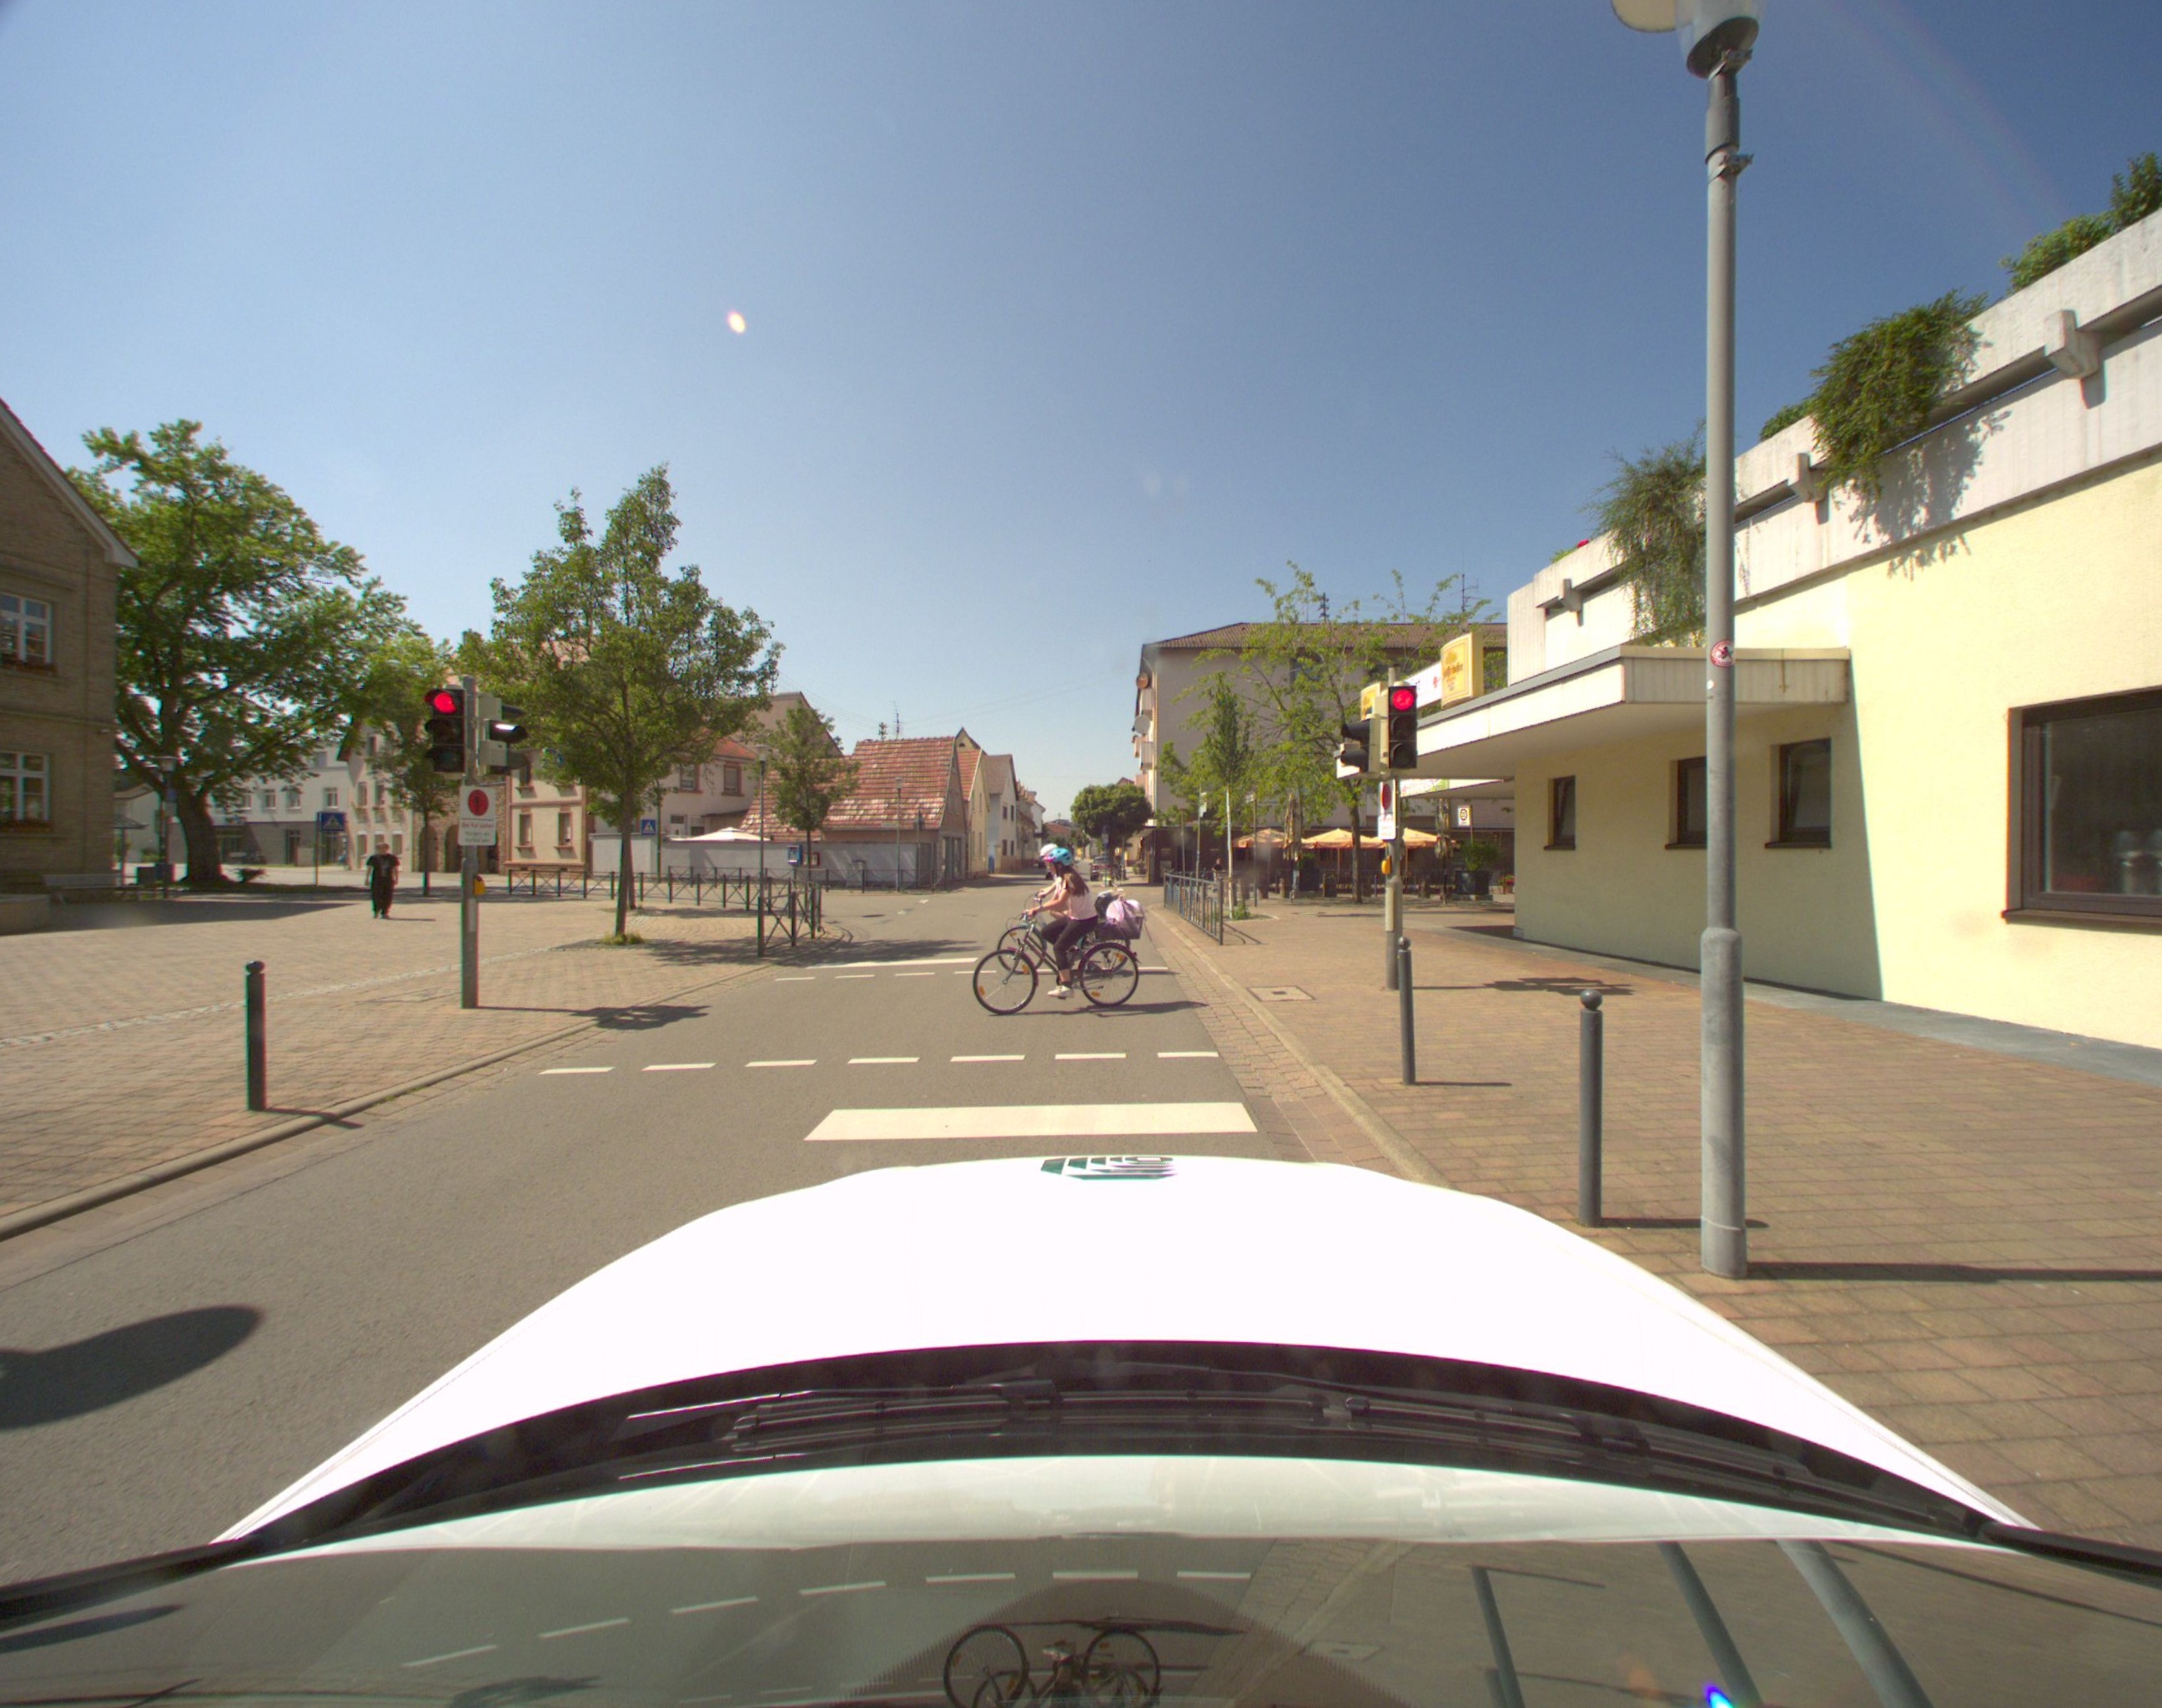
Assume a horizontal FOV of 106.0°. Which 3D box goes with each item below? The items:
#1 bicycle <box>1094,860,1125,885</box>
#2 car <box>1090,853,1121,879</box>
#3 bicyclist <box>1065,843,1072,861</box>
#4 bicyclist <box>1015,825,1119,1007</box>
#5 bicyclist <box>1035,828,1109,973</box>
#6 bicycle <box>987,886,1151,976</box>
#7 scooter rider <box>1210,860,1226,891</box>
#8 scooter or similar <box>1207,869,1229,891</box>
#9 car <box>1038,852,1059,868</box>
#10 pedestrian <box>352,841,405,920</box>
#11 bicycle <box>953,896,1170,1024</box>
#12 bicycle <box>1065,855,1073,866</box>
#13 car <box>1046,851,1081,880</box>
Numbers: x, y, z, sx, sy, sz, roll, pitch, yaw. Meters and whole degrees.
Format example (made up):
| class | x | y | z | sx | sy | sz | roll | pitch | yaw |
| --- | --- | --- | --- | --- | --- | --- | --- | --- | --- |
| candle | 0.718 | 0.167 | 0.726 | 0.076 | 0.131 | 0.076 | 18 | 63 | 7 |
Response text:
| class | x | y | z | sx | sy | sz | roll | pitch | yaw |
| --- | --- | --- | --- | --- | --- | --- | --- | --- | --- |
| bicycle | 1.389 | 0.922 | 40.409 | 0.530 | 1.193 | 1.655 | 0 | 0 | -42 |
| car | 1.522 | 0.690 | 49.187 | 1.797 | 1.501 | 4.004 | 0 | 0 | 3 |
| bicyclist | -1.222 | -0.201 | 81.741 | 0.666 | 1.690 | 0.762 | -1 | 0 | 1 |
| bicyclist | -0.143 | 0.541 | 7.613 | 0.761 | 1.581 | 0.667 | -2 | 1 | -18 |
| bicyclist | -0.093 | 0.541 | 9.817 | 0.755 | 1.664 | 0.672 | -2 | 0 | 6 |
| bicycle | -0.116 | 0.909 | 9.819 | 1.881 | 0.958 | 0.677 | -2 | 0 | 4 |
| scooter rider | 5.812 | 0.899 | 34.560 | 0.520 | 1.286 | 0.413 | 0 | 0 | -39 |
| scooter or similar | 5.819 | 1.096 | 34.554 | 0.382 | 0.873 | 0.880 | 0 | 0 | -38 |
| car | -3.134 | 0.545 | 80.066 | 1.707 | 1.517 | 3.789 | 0 | 0 | 3 |
| pedestrian | -15.293 | 0.566 | 17.745 | 0.818 | 1.654 | 0.841 | 1 | -1 | -39 |
| bicycle | -0.184 | 0.942 | 7.595 | 1.895 | 0.958 | 0.672 | -2 | 1 | -19 |
| bicycle | -1.212 | 0.620 | 81.678 | 0.671 | 1.094 | 1.897 | -1 | 0 | 2 |
| car | -1.042 | 0.663 | 50.146 | 1.827 | 1.652 | 4.003 | 1 | 1 | 2 |
